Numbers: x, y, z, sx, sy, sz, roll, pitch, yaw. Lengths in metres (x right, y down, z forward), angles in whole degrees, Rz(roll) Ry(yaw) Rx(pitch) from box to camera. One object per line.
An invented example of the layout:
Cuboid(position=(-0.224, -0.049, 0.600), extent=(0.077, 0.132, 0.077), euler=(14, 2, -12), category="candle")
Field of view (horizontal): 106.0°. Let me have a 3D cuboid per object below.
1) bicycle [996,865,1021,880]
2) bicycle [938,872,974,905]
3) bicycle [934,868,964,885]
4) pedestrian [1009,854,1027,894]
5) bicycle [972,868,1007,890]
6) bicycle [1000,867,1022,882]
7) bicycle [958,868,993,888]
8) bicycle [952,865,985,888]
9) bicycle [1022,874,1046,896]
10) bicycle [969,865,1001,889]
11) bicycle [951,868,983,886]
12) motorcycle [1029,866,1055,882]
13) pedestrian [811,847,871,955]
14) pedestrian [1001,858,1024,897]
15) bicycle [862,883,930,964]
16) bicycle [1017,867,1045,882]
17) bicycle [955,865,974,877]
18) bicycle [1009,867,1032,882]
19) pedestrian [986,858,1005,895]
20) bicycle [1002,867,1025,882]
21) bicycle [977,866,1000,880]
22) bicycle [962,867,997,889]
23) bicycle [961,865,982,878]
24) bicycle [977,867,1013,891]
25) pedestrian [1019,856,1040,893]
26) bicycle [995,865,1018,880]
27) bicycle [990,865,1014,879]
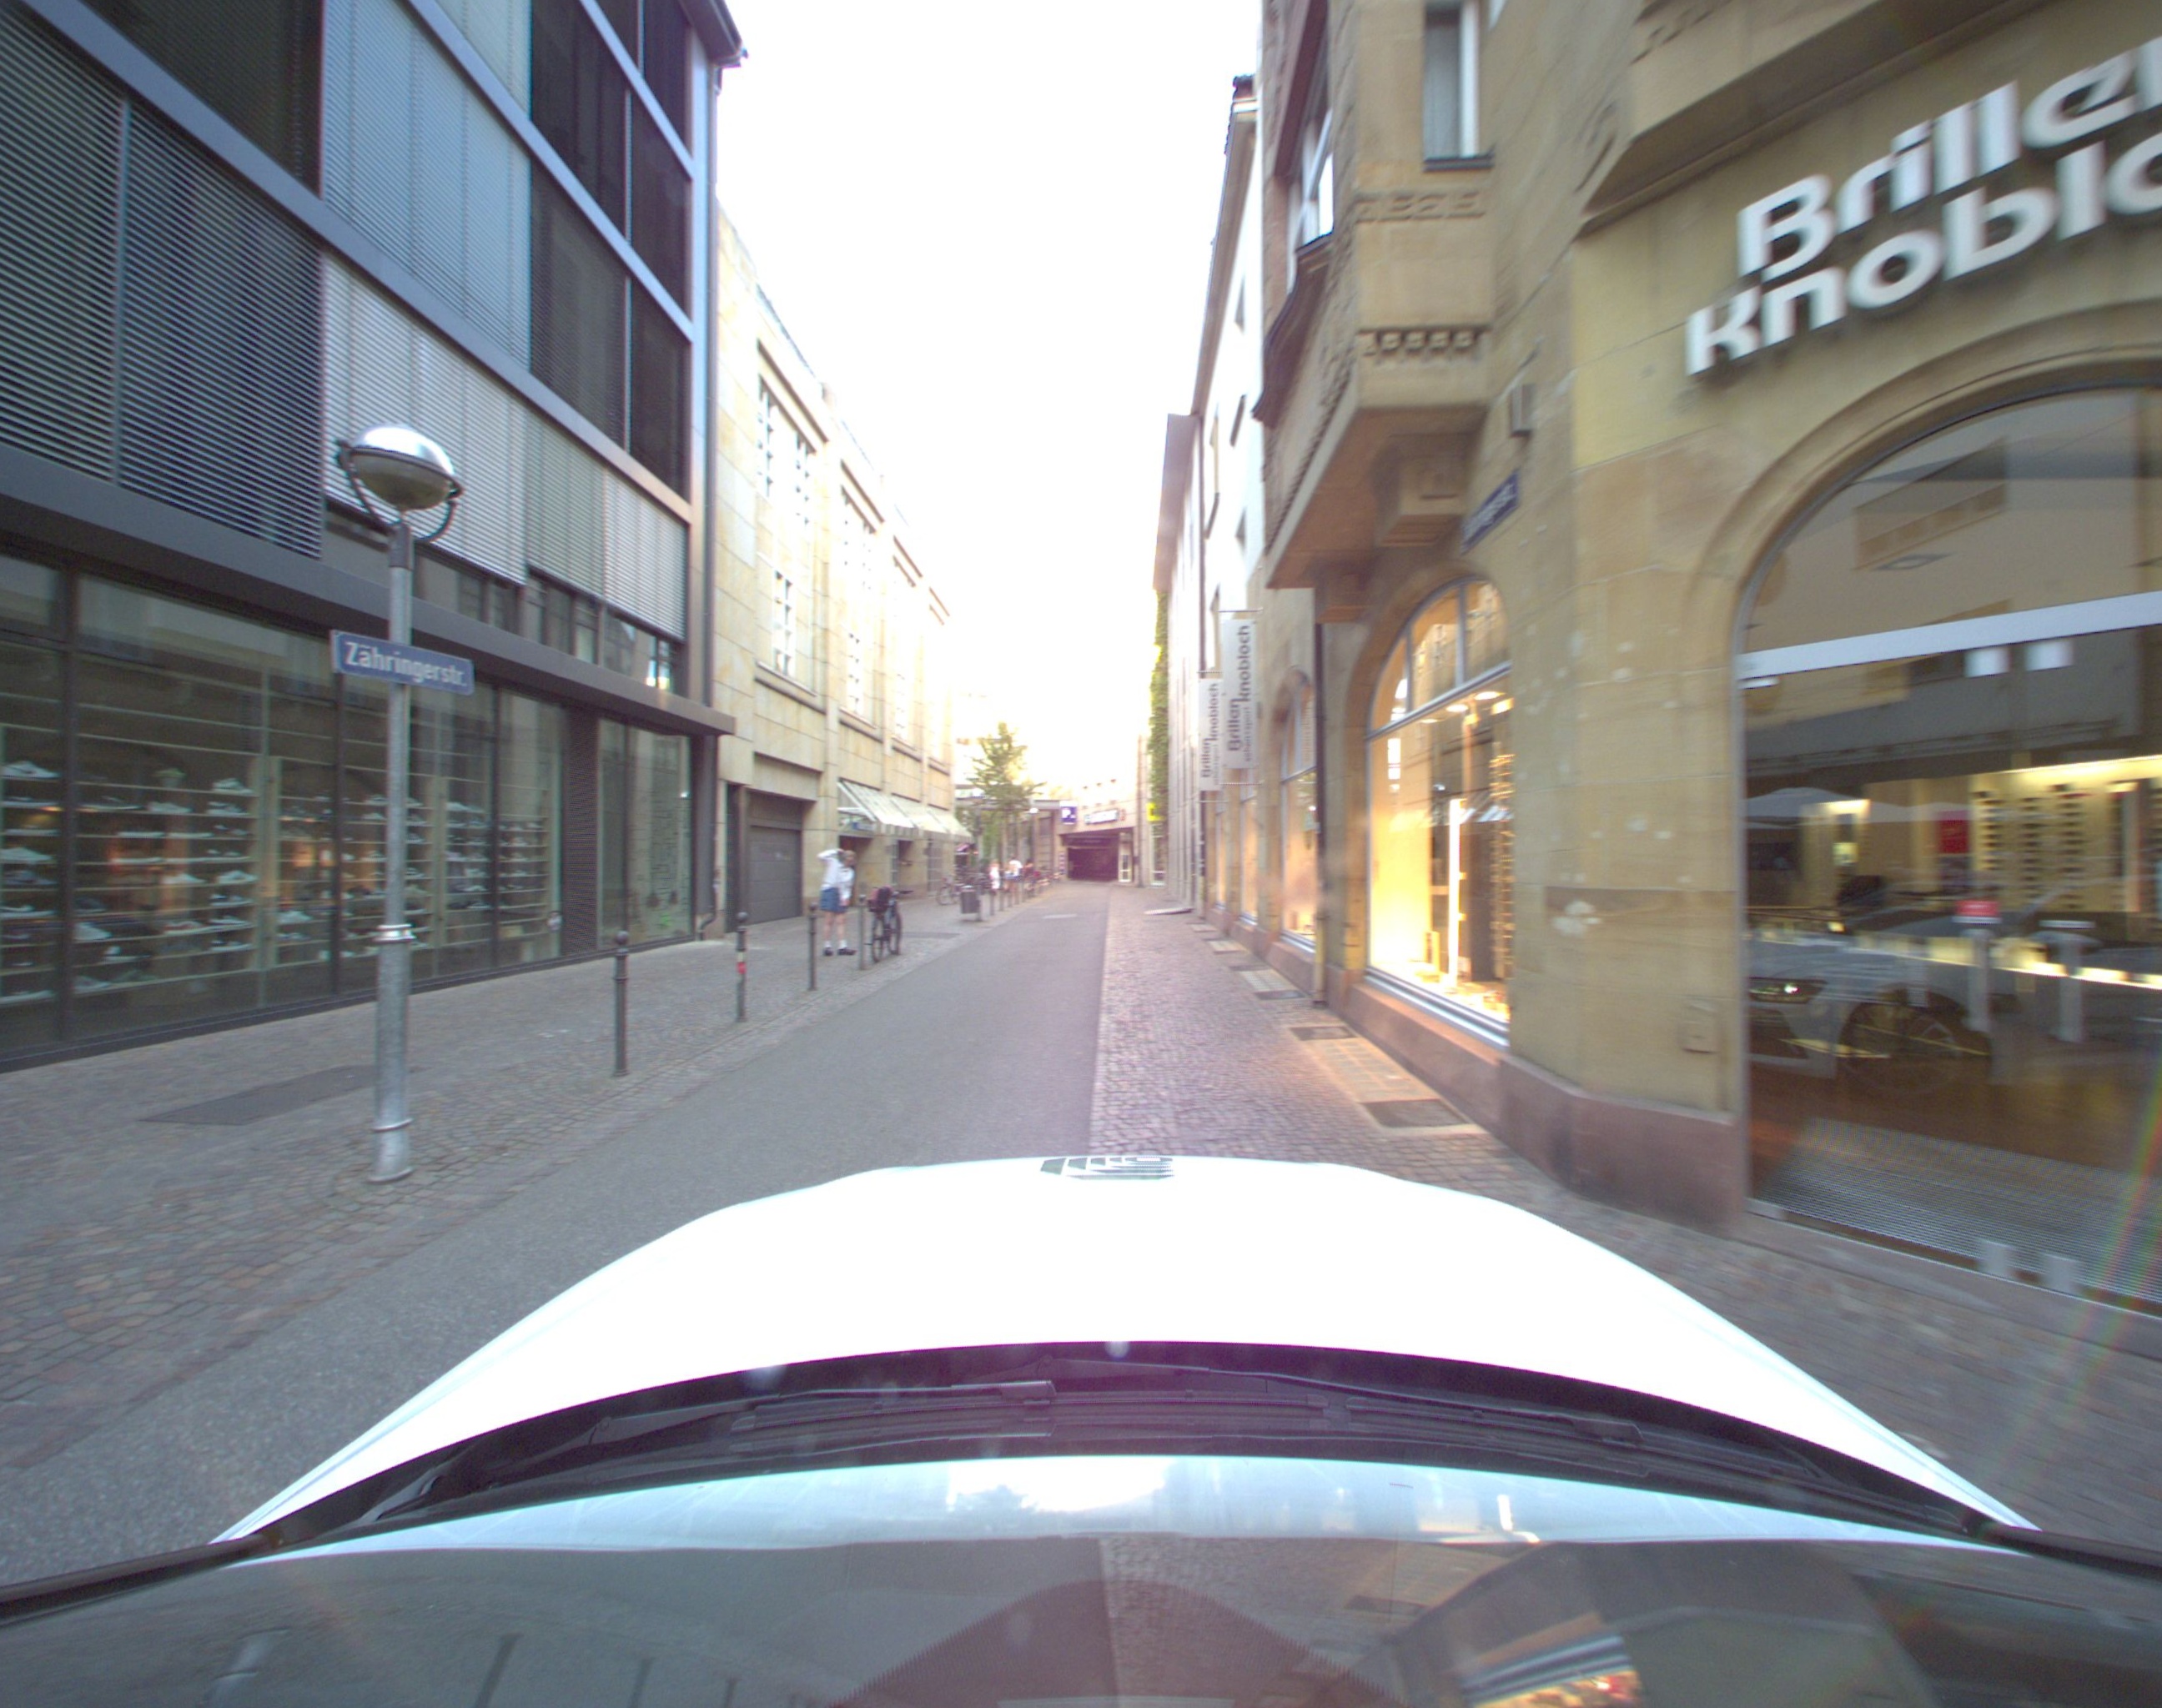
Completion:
Cuboid(position=(-5.612, 1.435, 62.982), extent=(1.779, 1.114, 0.539), euler=(-1, -1, -19), category="bicycle")
Cuboid(position=(-4.513, 1.223, 29.523), extent=(0.517, 1.138, 1.773), euler=(-1, -1, 18), category="bicycle")
Cuboid(position=(-8.523, 1.449, 52.740), extent=(1.831, 1.043, 0.530), euler=(-1, -1, -21), category="bicycle")
Cuboid(position=(-2.943, 0.924, 38.327), extent=(0.740, 1.822, 0.878), euler=(-1, -1, 0), category="pedestrian")
Cuboid(position=(-5.049, 1.364, 44.969), extent=(1.843, 1.122, 0.530), euler=(-1, -1, -21), category="bicycle")
Cuboid(position=(-5.196, 1.527, 60.769), extent=(1.544, 1.049, 0.572), euler=(-1, -1, -19), category="bicycle")
Cuboid(position=(-6.009, 1.369, 46.473), extent=(1.901, 1.052, 0.530), euler=(-1, -1, -21), category="bicycle")
Cuboid(position=(-6.506, 1.299, 47.157), extent=(1.840, 1.225, 0.530), euler=(-1, -1, -21), category="bicycle")
Cuboid(position=(-2.077, 1.376, 36.292), extent=(0.489, 0.939, 1.666), euler=(0, 0, 17), category="bicycle")
Cuboid(position=(-5.195, 1.250, 44.081), extent=(1.660, 1.231, 0.530), euler=(-1, -1, -21), category="bicycle")
Cuboid(position=(-7.138, 1.420, 50.955), extent=(1.884, 1.043, 0.530), euler=(-1, -1, -21), category="bicycle")
Cuboid(position=(-2.636, 1.318, 54.918), extent=(1.668, 1.050, 0.460), euler=(-1, -1, -19), category="motorcycle")
Cuboid(position=(-3.924, 0.760, 13.359), extent=(0.765, 1.718, 0.592), euler=(1, -1, 1), category="pedestrian")
Cuboid(position=(-3.110, 1.045, 36.879), extent=(0.801, 1.729, 0.951), euler=(-1, -1, 9), category="pedestrian")
Cuboid(position=(-2.971, 1.085, 13.253), extent=(0.530, 1.154, 1.916), euler=(1, 0, 3), category="bicycle")
Cuboid(position=(-3.452, 1.419, 56.560), extent=(1.853, 0.982, 0.460), euler=(-1, -1, -19), category="bicycle")
Cuboid(position=(-11.254, 1.637, 78.719), extent=(1.779, 1.191, 0.582), euler=(-1, -1, -19), category="bicycle")
Cuboid(position=(-4.336, 1.445, 58.378), extent=(1.544, 1.049, 0.572), euler=(-1, -1, -19), category="bicycle")
Cuboid(position=(-3.891, 1.028, 37.037), extent=(0.671, 1.664, 0.862), euler=(0, -1, 8), category="pedestrian")
Cuboid(position=(-4.934, 1.487, 59.367), extent=(1.544, 1.049, 0.572), euler=(-1, -1, -19), category="bicycle")
Cuboid(position=(-7.692, 1.554, 67.557), extent=(1.779, 1.114, 0.539), euler=(-1, -1, -19), category="bicycle")
Cuboid(position=(-5.748, 1.327, 45.938), extent=(1.879, 1.177, 0.530), euler=(-1, -1, -21), category="bicycle")
Cuboid(position=(-9.870, 1.580, 73.377), extent=(1.777, 1.114, 0.540), euler=(-1, -1, -16), category="bicycle")
Cuboid(position=(-4.520, 1.307, 42.789), extent=(1.773, 1.231, 0.530), euler=(-1, -1, -21), category="bicycle")
Cuboid(position=(-2.510, 0.983, 39.947), extent=(0.780, 1.795, 0.975), euler=(-1, 0, 11), category="pedestrian")
Cuboid(position=(-5.865, 1.437, 64.215), extent=(1.779, 1.114, 0.539), euler=(-1, -1, -19), category="bicycle")
Cuboid(position=(-6.324, 1.439, 65.275), extent=(1.779, 1.114, 0.539), euler=(-1, -1, -19), category="bicycle")
